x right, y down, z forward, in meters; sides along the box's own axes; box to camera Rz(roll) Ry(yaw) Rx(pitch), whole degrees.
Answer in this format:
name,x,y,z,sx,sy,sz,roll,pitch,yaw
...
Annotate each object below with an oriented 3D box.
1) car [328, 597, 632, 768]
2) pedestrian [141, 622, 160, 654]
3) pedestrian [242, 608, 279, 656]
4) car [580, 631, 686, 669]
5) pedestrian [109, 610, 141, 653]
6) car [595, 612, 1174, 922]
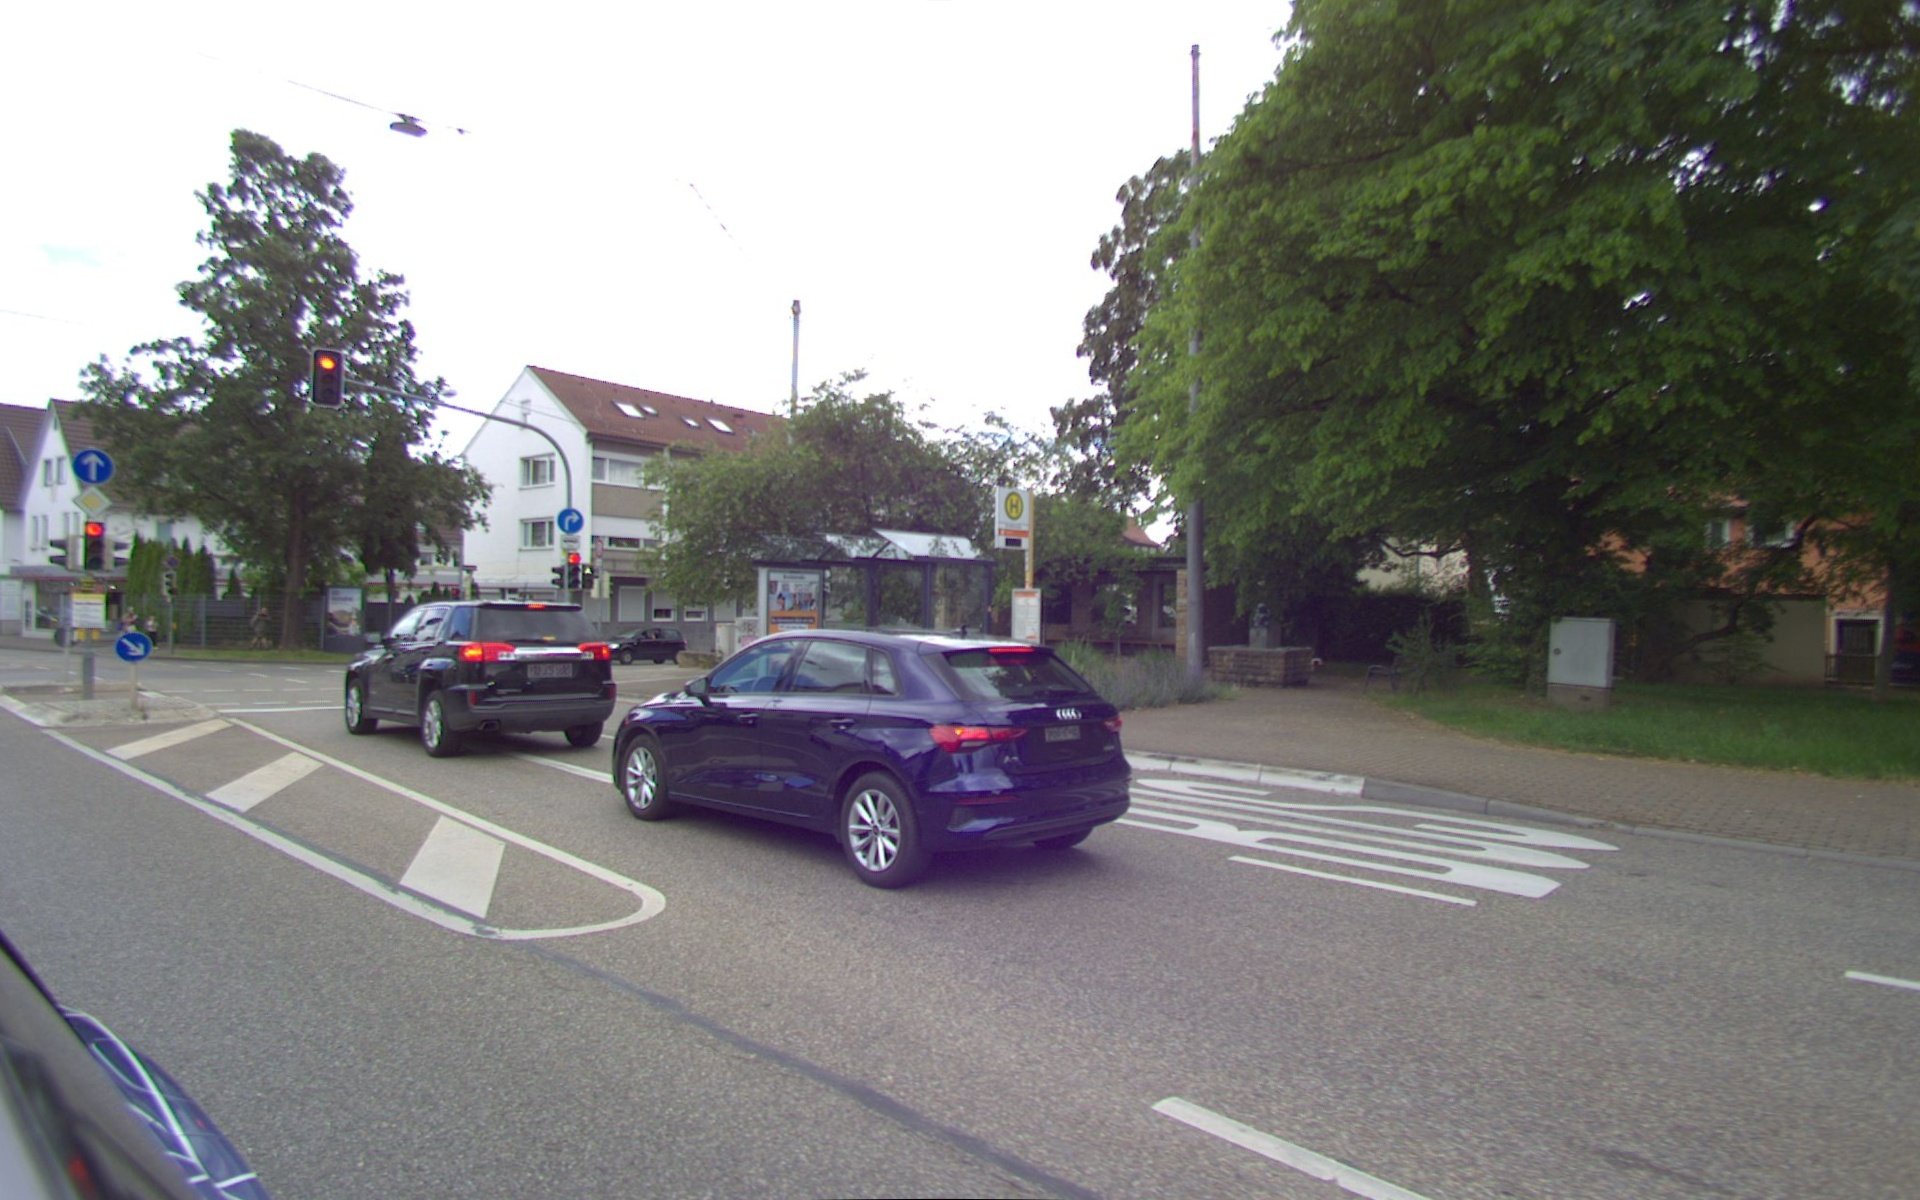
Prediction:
name,x,y,z,sx,sy,sz,roll,pitch,yaw
car,-5.901,0.841,12.149,4.597,1.647,1.738,1,-2,44
pedestrian,-32.132,1.502,40.188,0.547,1.271,0.380,0,1,24
pedestrian,-26.927,1.219,38.957,1.226,1.767,0.814,0,1,35
car,-12.922,1.970,40.112,1.771,1.409,3.595,-1,-3,41
pedestrian,-32.683,1.225,39.627,0.861,1.617,0.637,0,1,24
car,-0.757,0.836,6.888,4.131,1.431,1.546,1,-1,44
